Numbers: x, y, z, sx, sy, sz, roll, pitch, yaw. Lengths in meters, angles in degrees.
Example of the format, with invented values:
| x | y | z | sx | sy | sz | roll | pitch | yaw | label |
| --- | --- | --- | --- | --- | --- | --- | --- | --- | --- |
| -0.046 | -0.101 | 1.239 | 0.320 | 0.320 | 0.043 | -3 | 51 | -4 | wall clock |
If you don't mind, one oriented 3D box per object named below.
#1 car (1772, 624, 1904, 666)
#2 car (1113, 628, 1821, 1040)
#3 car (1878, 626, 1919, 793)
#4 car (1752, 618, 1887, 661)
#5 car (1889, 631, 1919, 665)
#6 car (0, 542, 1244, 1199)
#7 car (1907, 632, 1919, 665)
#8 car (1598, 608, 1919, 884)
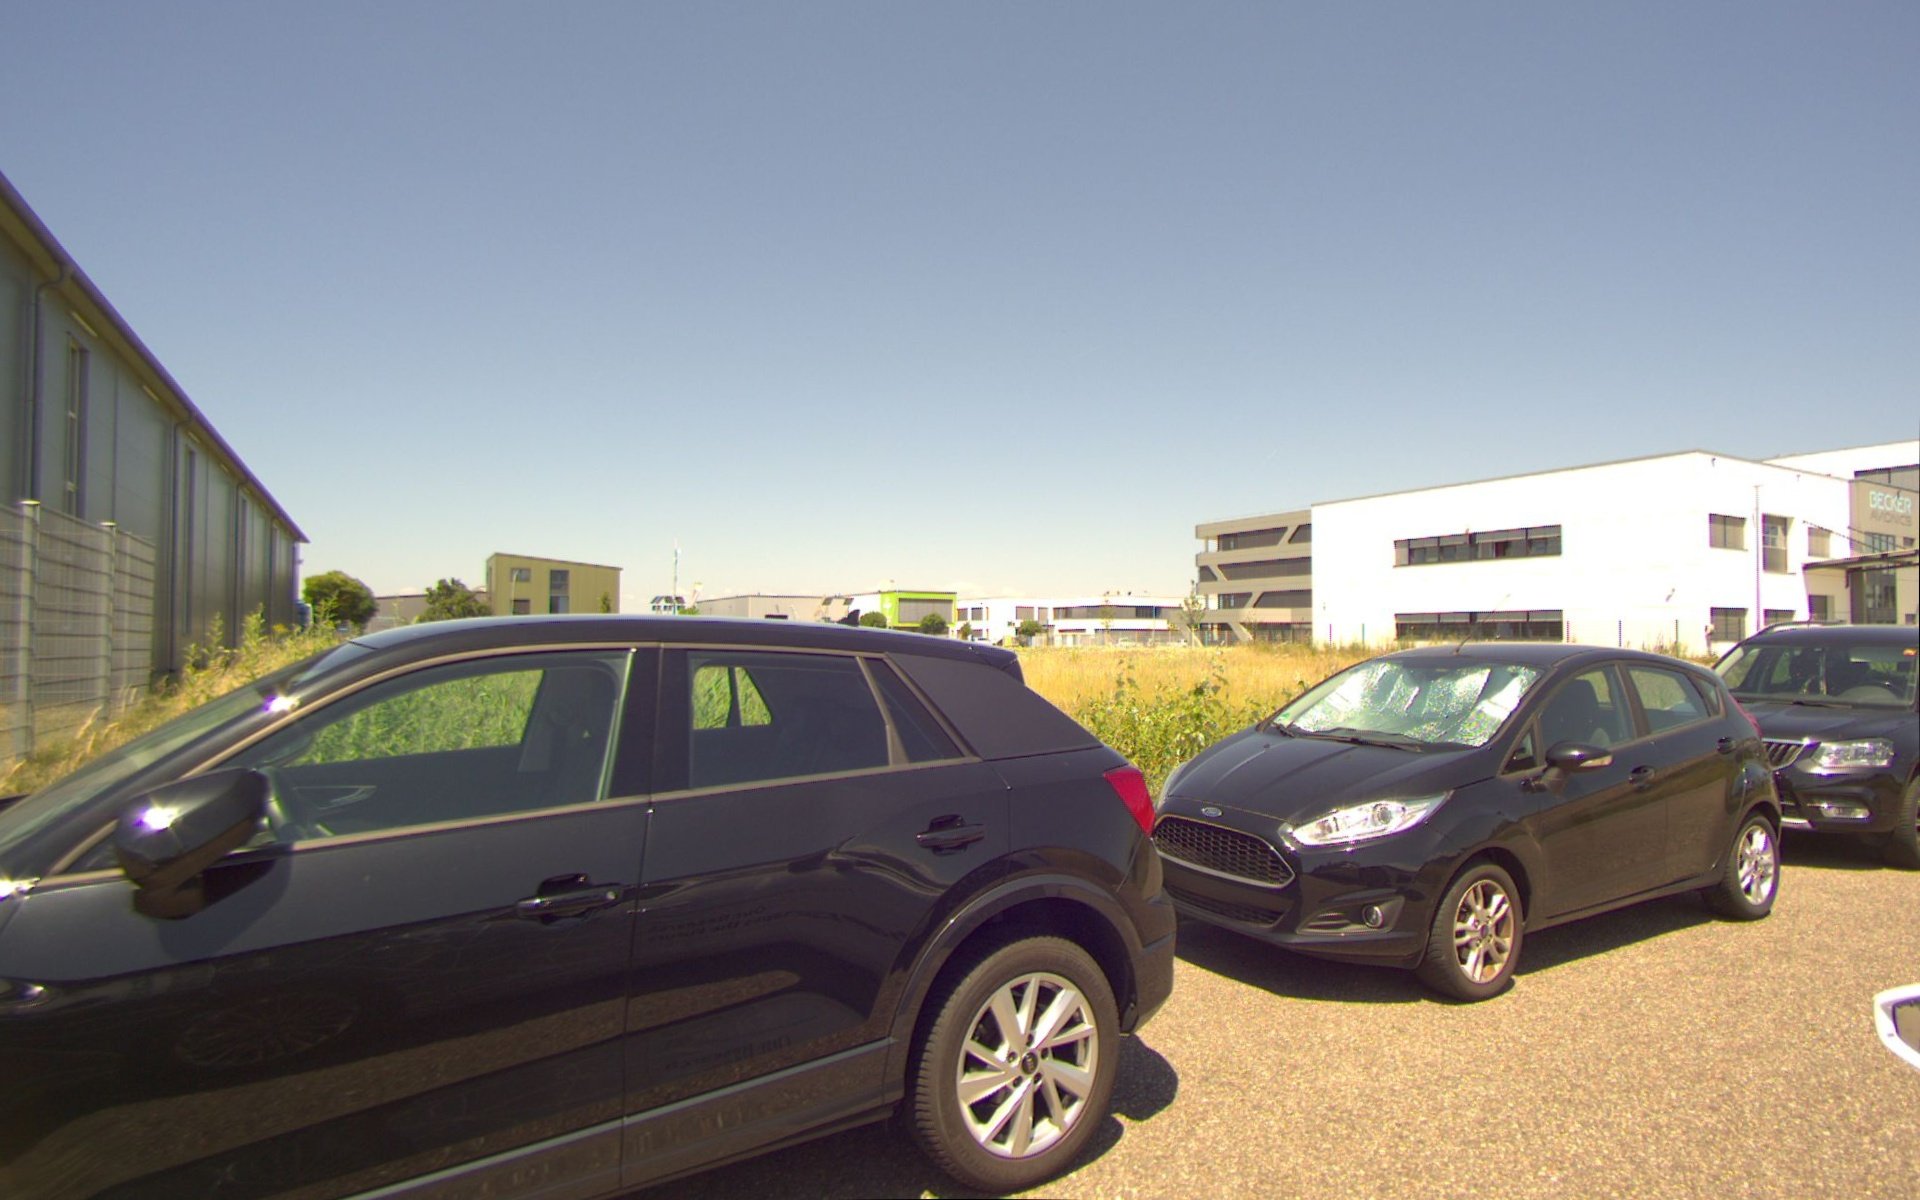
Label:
| x | y | z | sx | sy | sz | roll | pitch | yaw | label |
| --- | --- | --- | --- | --- | --- | --- | --- | --- | --- |
| 43.442 | 2.251 | 49.805 | 2.007 | 1.968 | 4.509 | 2 | -3 | -29 | car |
| 2.799 | 0.927 | 5.365 | 3.788 | 1.512 | 1.583 | 1 | -3 | -31 | car |
| 11.885 | 1.125 | 10.764 | 4.499 | 1.685 | 1.760 | 1 | -3 | -31 | car |
| 41.346 | 1.930 | 48.442 | 2.007 | 1.968 | 4.509 | 2 | -3 | -29 | car |
| 56.138 | 2.737 | 57.082 | 2.007 | 1.968 | 4.509 | 2 | -3 | -29 | car |
| -1.405 | 0.753 | 2.745 | 4.143 | 1.588 | 1.917 | 1 | -3 | -32 | car |
| 58.574 | 2.816 | 58.530 | 2.007 | 1.968 | 4.509 | 2 | -3 | -29 | car |
| 7.060 | 0.967 | 7.949 | 4.187 | 1.685 | 1.669 | 1 | -3 | -31 | car |
